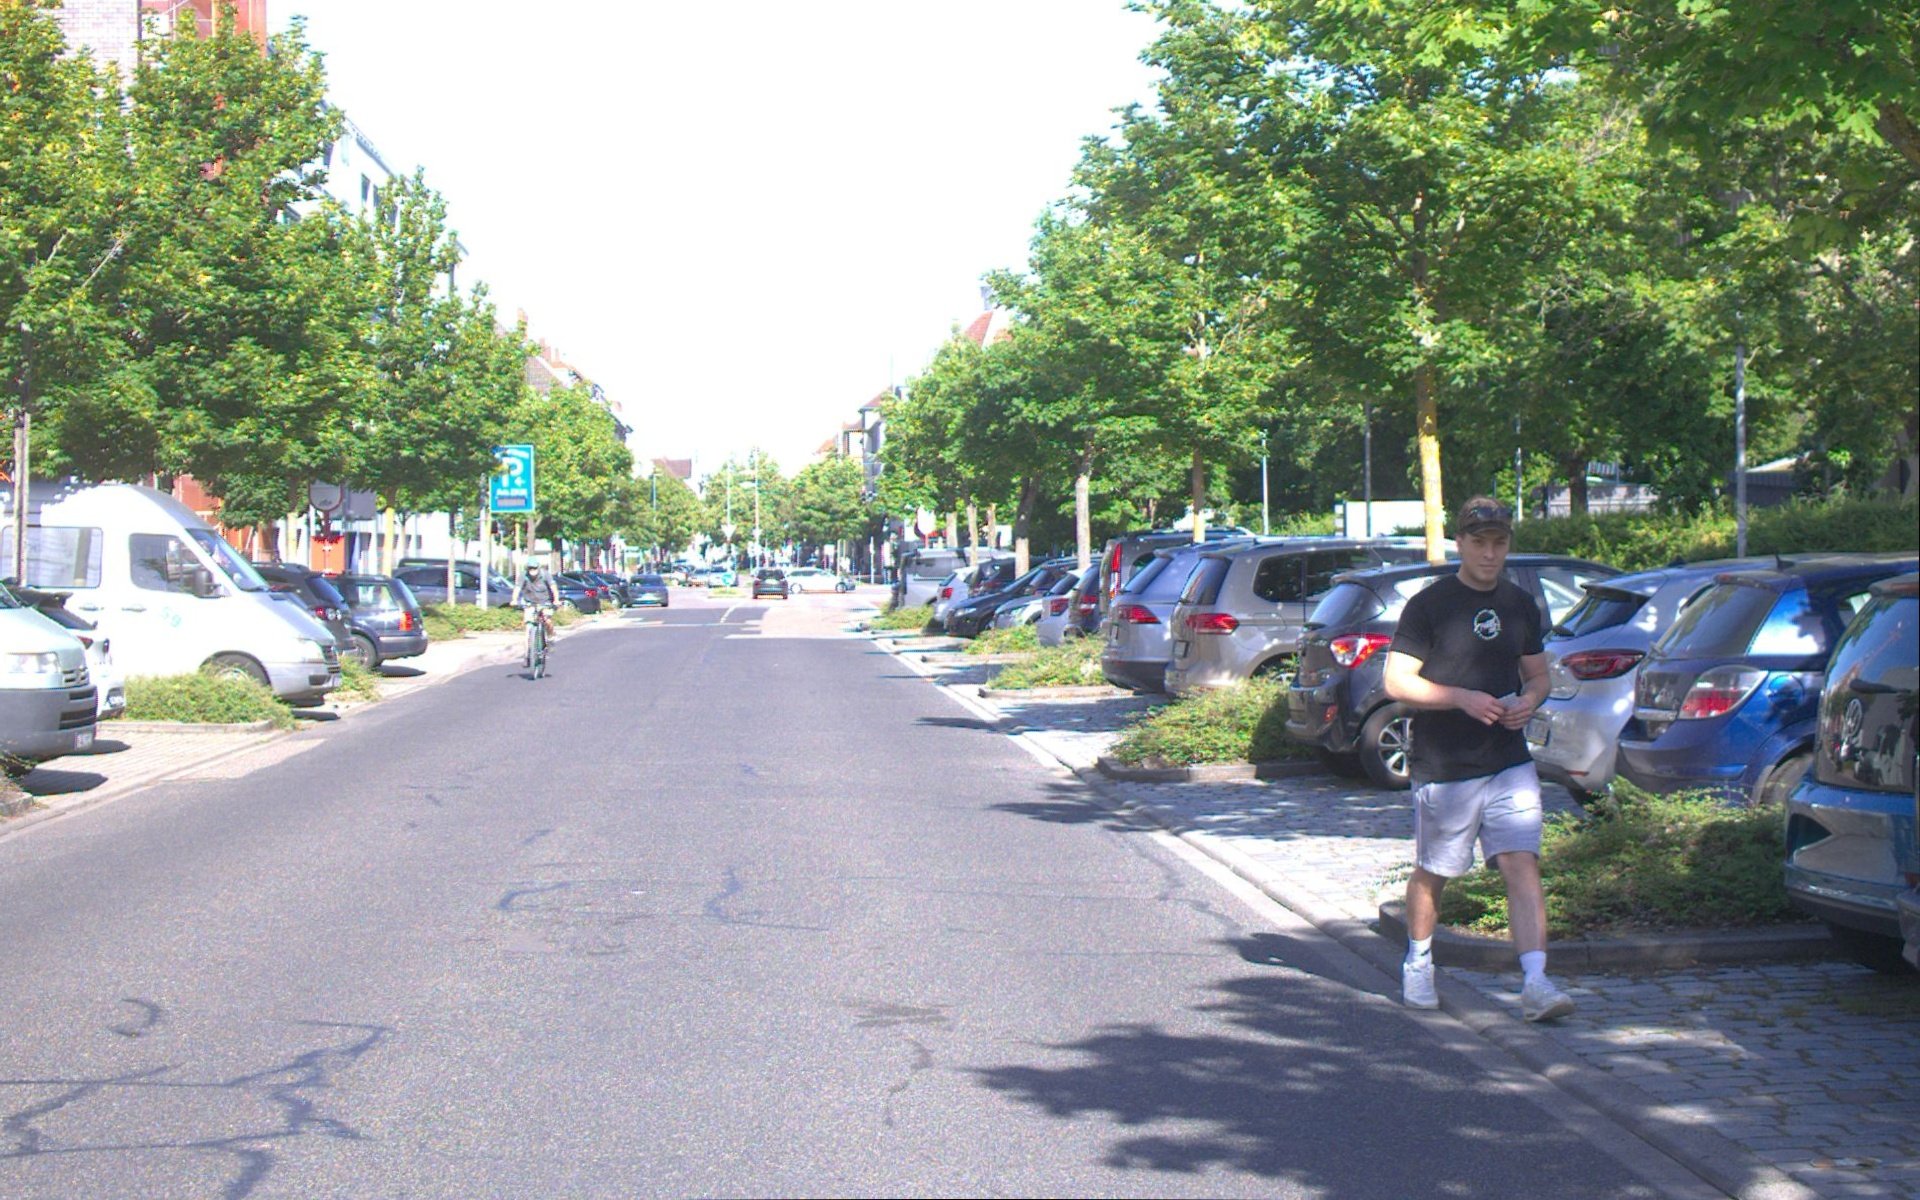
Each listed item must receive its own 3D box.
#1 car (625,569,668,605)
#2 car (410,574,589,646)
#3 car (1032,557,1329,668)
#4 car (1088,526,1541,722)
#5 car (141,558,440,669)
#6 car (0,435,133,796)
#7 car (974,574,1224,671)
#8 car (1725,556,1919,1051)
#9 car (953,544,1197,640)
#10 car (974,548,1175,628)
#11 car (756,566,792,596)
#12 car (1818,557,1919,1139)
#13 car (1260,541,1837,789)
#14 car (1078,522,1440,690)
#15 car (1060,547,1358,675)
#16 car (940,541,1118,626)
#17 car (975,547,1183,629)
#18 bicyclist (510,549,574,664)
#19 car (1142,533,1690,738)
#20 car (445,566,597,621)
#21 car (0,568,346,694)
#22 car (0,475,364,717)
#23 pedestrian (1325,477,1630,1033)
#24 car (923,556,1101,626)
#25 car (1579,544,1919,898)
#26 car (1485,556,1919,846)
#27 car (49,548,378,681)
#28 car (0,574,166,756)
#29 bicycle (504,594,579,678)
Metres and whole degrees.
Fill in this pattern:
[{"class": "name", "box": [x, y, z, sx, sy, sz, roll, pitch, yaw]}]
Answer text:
[{"class": "car", "box": [-13.893, -0.584, 152.444, 1.811, 1.469, 4.111, -1, 2, -4]}, {"class": "car", "box": [-11.338, 0.232, 84.807, 4.261, 1.660, 1.599, -1, 1, -4]}, {"class": "car", "box": [3.115, 0.168, 49.128, 4.061, 1.421, 1.742, -2, 0, -1]}, {"class": "car", "box": [3.256, 0.191, 32.103, 3.898, 1.689, 1.941, -1, 2, -5]}, {"class": "car", "box": [-9.770, 0.186, 50.443, 4.129, 1.487, 1.869, 1, 2, -6]}, {"class": "car", "box": [-8.672, 0.027, 24.036, 5.248, 2.410, 2.123, 2, 1, -2]}, {"class": "car", "box": [2.243, 0.357, 56.169, 3.900, 1.481, 1.743, -1, 1, -4]}, {"class": "car", "box": [4.694, 0.582, 11.398, 3.898, 1.463, 1.622, -1, 2, -5]}, {"class": "car", "box": [2.018, -0.155, 61.215, 4.143, 1.574, 1.741, -2, 1, -4]}, {"class": "car", "box": [2.332, -0.246, 70.806, 3.986, 1.576, 2.032, -1, 0, -2]}, {"class": "car", "box": [-9.702, -1.009, 179.316, 1.811, 1.469, 4.111, -1, 2, -2]}, {"class": "car", "box": [4.591, 0.601, 8.996, 4.185, 1.514, 1.737, -1, 1, -5]}, {"class": "car", "box": [3.896, 0.420, 23.127, 3.452, 1.484, 1.747, -2, 0, -5]}, {"class": "car", "box": [3.617, 0.044, 42.048, 4.118, 1.921, 1.979, -1, 2, -5]}, {"class": "car", "box": [3.199, 0.122, 44.530, 3.605, 1.544, 1.707, -1, 2, -5]}, {"class": "car", "box": [1.578, -0.392, 79.379, 3.986, 1.873, 1.683, -1, 1, -2]}, {"class": "car", "box": [2.333, -0.231, 68.145, 3.986, 1.533, 1.862, -1, 0, -2]}, {"class": "bicyclist", "box": [-5.835, 0.085, 47.990, 0.683, 1.575, 1.061, -2, 0, 2]}, {"class": "car", "box": [3.883, 0.279, 29.682, 4.319, 1.602, 1.912, -1, 1, -6]}, {"class": "car", "box": [-12.707, -0.200, 99.720, 4.330, 1.469, 1.818, -1, 1, -6]}, {"class": "car", "box": [-9.929, 0.380, 43.561, 3.986, 1.512, 1.855, -1, 0, -2]}, {"class": "car", "box": [-9.174, -0.071, 35.896, 5.551, 2.401, 1.988, 1, 1, -1]}, {"class": "pedestrian", "box": [1.732, 0.495, 11.676, 0.719, 1.765, 1.168, -2, 0, -4]}, {"class": "car", "box": [1.115, -0.197, 75.317, 3.765, 1.454, 1.818, -1, 0, -3]}, {"class": "car", "box": [4.982, 0.483, 15.784, 3.894, 1.492, 1.842, -1, 1, -1]}, {"class": "car", "box": [4.835, 0.486, 18.344, 3.732, 1.411, 1.842, -1, 1, -1]}, {"class": "car", "box": [-9.954, 0.184, 46.049, 3.987, 1.658, 1.828, 1, 0, 0]}, {"class": "car", "box": [-8.915, 0.510, 29.380, 3.830, 1.467, 1.848, 1, 1, -1]}, {"class": "bicycle", "box": [-5.824, 0.489, 47.941, 0.698, 1.107, 2.079, -2, 1, 2]}]
